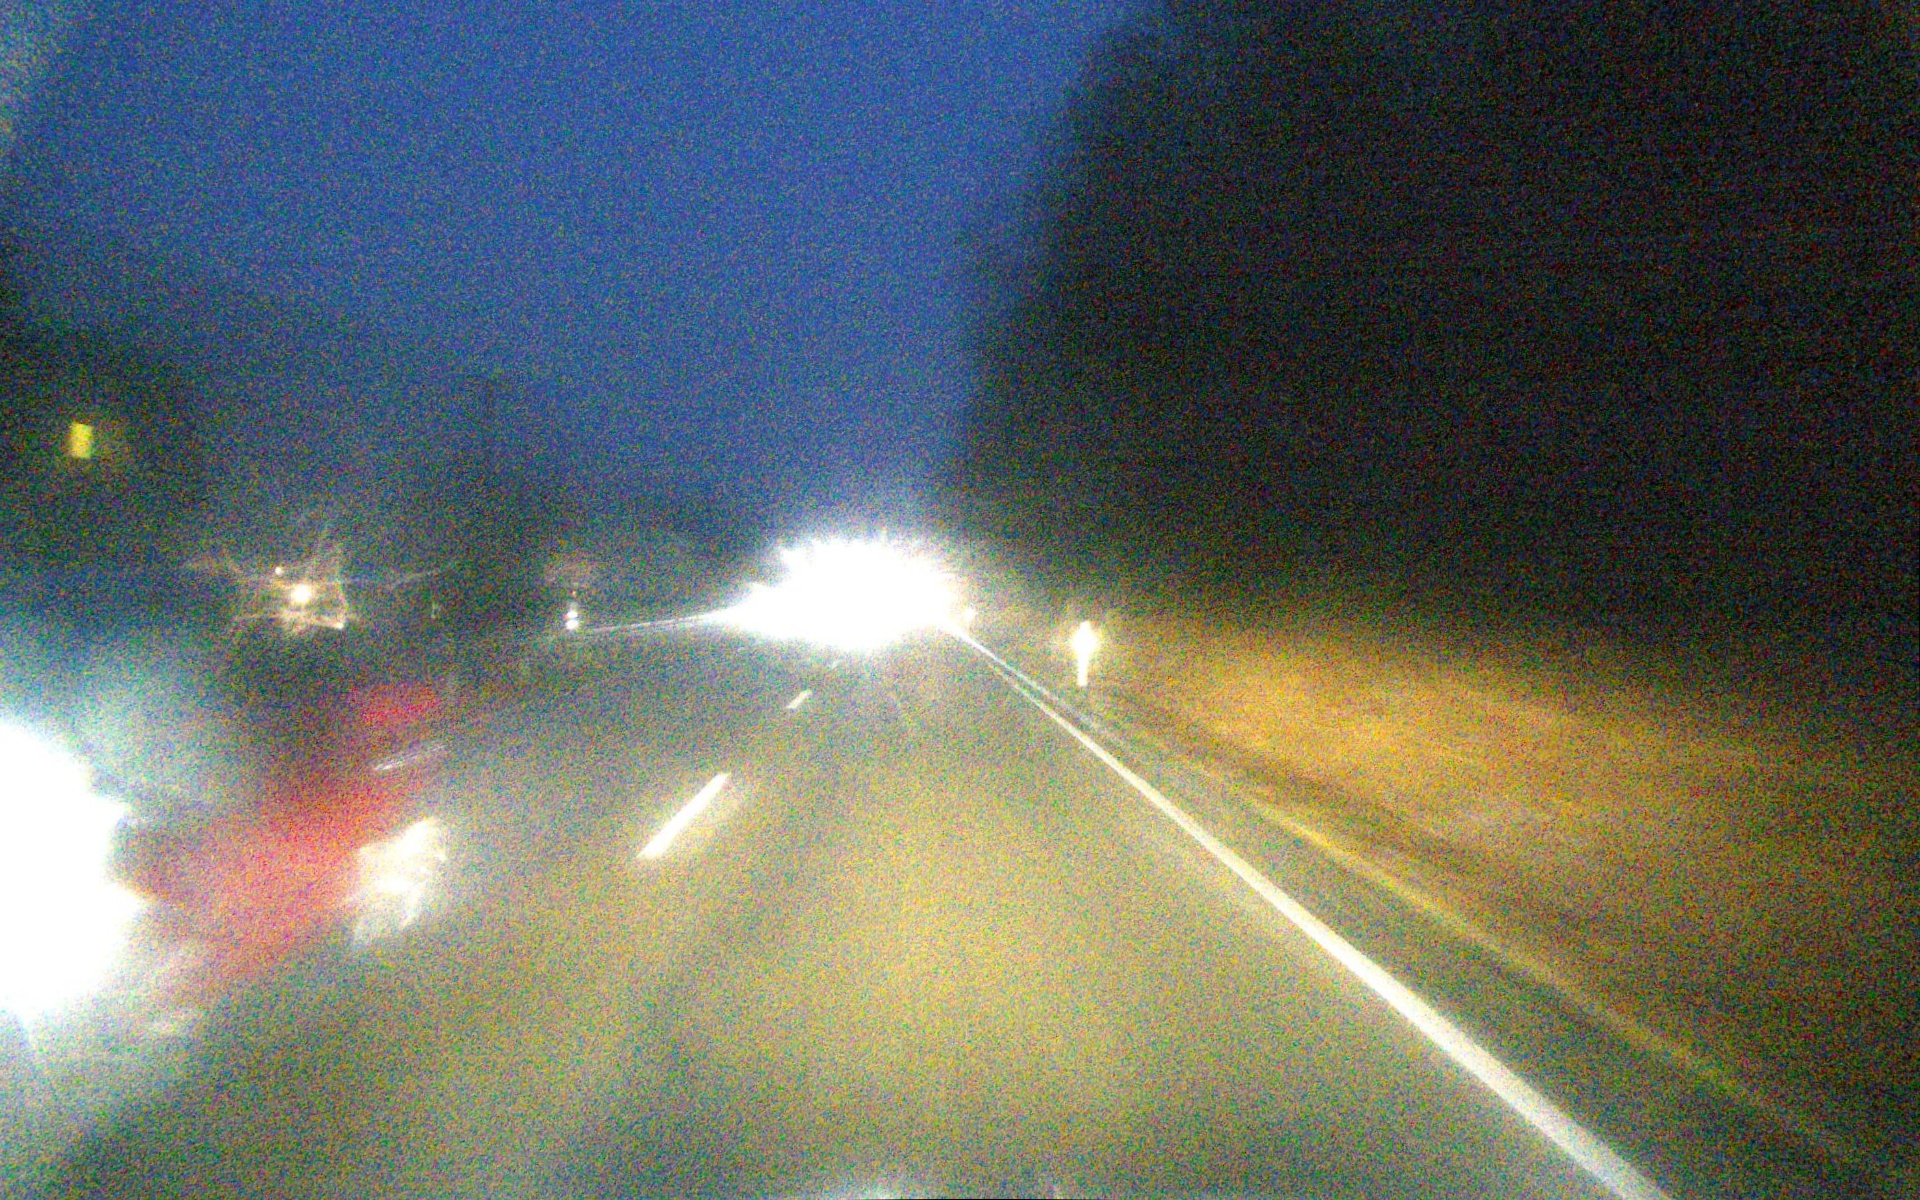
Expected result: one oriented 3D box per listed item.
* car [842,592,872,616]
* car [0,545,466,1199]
[{"bbox_3d":[-7.503,0.270,120.426,2.055,1.668,4.453,1,0,-2],"label":"car"},{"bbox_3d":[-3.065,0.662,5.417,1.792,1.595,3.779,1,0,-1],"label":"car"}]
